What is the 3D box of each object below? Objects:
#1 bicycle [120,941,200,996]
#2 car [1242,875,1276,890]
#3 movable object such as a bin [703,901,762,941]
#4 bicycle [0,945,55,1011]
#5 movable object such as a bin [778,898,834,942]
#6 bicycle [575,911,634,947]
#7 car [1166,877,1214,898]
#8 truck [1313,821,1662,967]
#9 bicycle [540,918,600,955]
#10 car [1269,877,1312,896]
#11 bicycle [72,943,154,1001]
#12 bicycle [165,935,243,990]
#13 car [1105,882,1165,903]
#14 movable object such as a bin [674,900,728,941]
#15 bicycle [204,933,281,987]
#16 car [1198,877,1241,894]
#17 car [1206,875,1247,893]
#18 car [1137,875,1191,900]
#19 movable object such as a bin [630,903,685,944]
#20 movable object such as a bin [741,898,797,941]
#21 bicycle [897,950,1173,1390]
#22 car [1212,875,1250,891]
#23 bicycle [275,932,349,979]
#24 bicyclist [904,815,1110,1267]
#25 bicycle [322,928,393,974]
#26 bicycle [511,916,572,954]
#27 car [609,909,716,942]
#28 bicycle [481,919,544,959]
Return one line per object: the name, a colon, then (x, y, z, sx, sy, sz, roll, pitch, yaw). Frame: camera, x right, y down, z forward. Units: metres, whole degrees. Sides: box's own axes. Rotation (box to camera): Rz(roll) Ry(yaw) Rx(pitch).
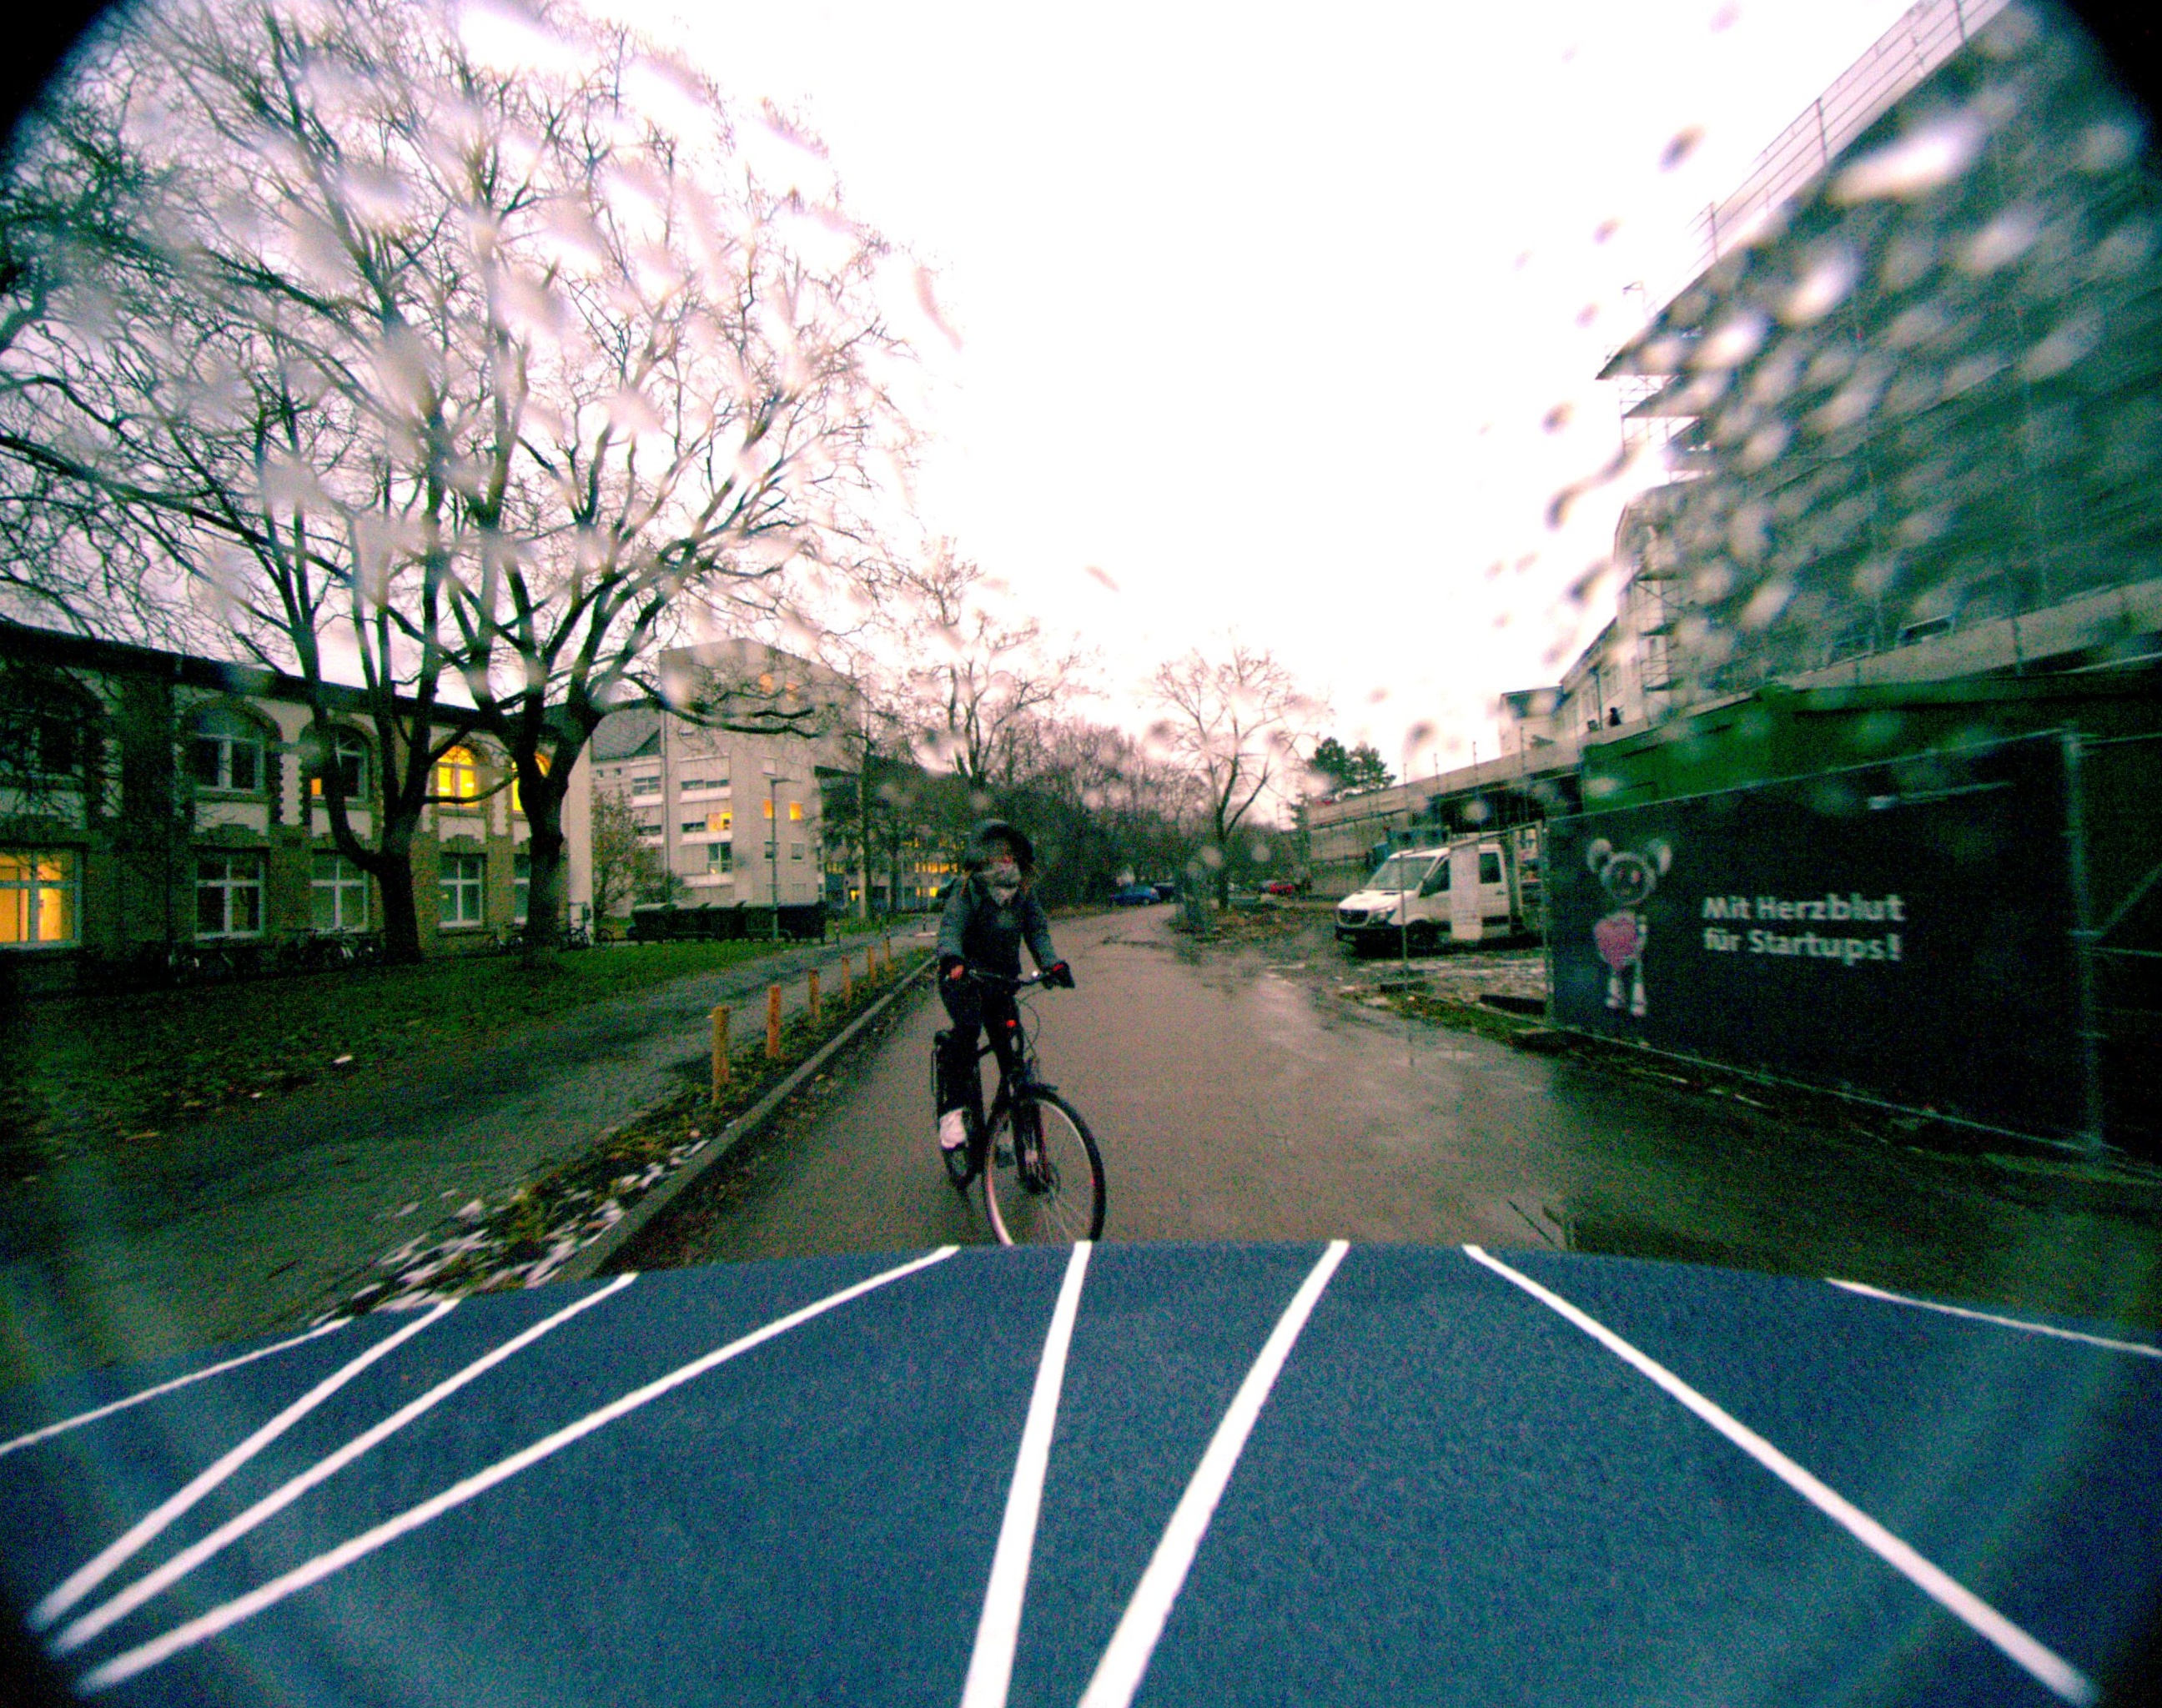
bicycle: (-20.105, 2.476, 16.577, 2.136, 1.011, 0.574, -1, -1, 24)
car: (23.321, 3.766, 99.585, 3.991, 1.785, 1.805, -3, -2, 24)
movable object such as a bin: (-11.413, 2.190, 24.917, 1.435, 1.217, 0.989, -2, -2, 17)
bicycle: (-20.701, 2.366, 14.698, 2.136, 1.150, 0.574, -3, -2, 24)
movable object such as a bin: (-8.665, 2.057, 23.984, 1.322, 1.309, 1.064, -1, -1, 5)
bicycle: (-16.212, 2.539, 25.840, 2.136, 1.150, 0.574, -3, -2, 24)
car: (10.054, 3.072, 70.153, 3.991, 1.785, 1.805, -3, -2, 24)
truck: (8.972, 0.796, 16.871, 7.083, 2.572, 2.131, -3, -1, -14)
bicycle: (-16.845, 2.703, 25.046, 2.136, 1.150, 0.574, -3, -2, 24)
car: (17.781, 2.758, 64.356, 3.302, 1.514, 1.707, -3, -2, 20)
bicycle: (-20.355, 2.459, 15.973, 2.136, 1.044, 0.574, -1, -1, 24)
bicycle: (-19.835, 2.427, 17.177, 2.136, 1.150, 0.574, -3, -2, 24)
car: (4.121, 2.995, 58.092, 4.172, 1.468, 2.004, -2, -5, 21)
movable object such as a bin: (-12.717, 2.225, 25.472, 1.249, 1.272, 0.989, -2, -2, 17)
bicycle: (-19.594, 2.455, 17.750, 2.136, 1.150, 0.574, -3, -2, 24)
car: (14.354, 3.273, 78.941, 3.991, 1.651, 2.004, -3, -2, 24)
car: (15.700, 3.268, 82.194, 3.991, 1.785, 1.805, -3, -2, 24)
car: (6.929, 2.798, 63.383, 3.991, 1.979, 2.004, -3, -2, 24)
movable object such as a bin: (-14.266, 2.340, 25.622, 1.261, 1.306, 0.989, -2, -2, 17)
movable object such as a bin: (-10.024, 2.087, 24.409, 1.305, 1.306, 0.989, -2, -2, 17)
bicycle: (-0.345, 1.078, 3.305, 0.731, 1.126, 1.892, -1, -2, -17)
car: (17.695, 3.441, 89.717, 3.991, 1.785, 1.805, -3, -2, 24)
bicycle: (-19.162, 2.511, 18.917, 2.136, 1.085, 0.574, -3, -2, 24)
bicyclist: (-0.362, 0.704, 3.313, 0.707, 1.679, 0.770, -2, -1, -17)
bicycle: (-18.833, 2.514, 19.771, 2.136, 1.103, 0.574, -3, -2, 24)
bicycle: (-17.107, 2.566, 24.086, 2.136, 1.150, 0.574, -3, -2, 24)
car: (-19.765, 3.356, 36.040, 1.995, 1.273, 4.008, -3, -2, 28)
bicycle: (-17.413, 2.581, 23.249, 2.136, 1.150, 0.574, -3, -2, 24)
